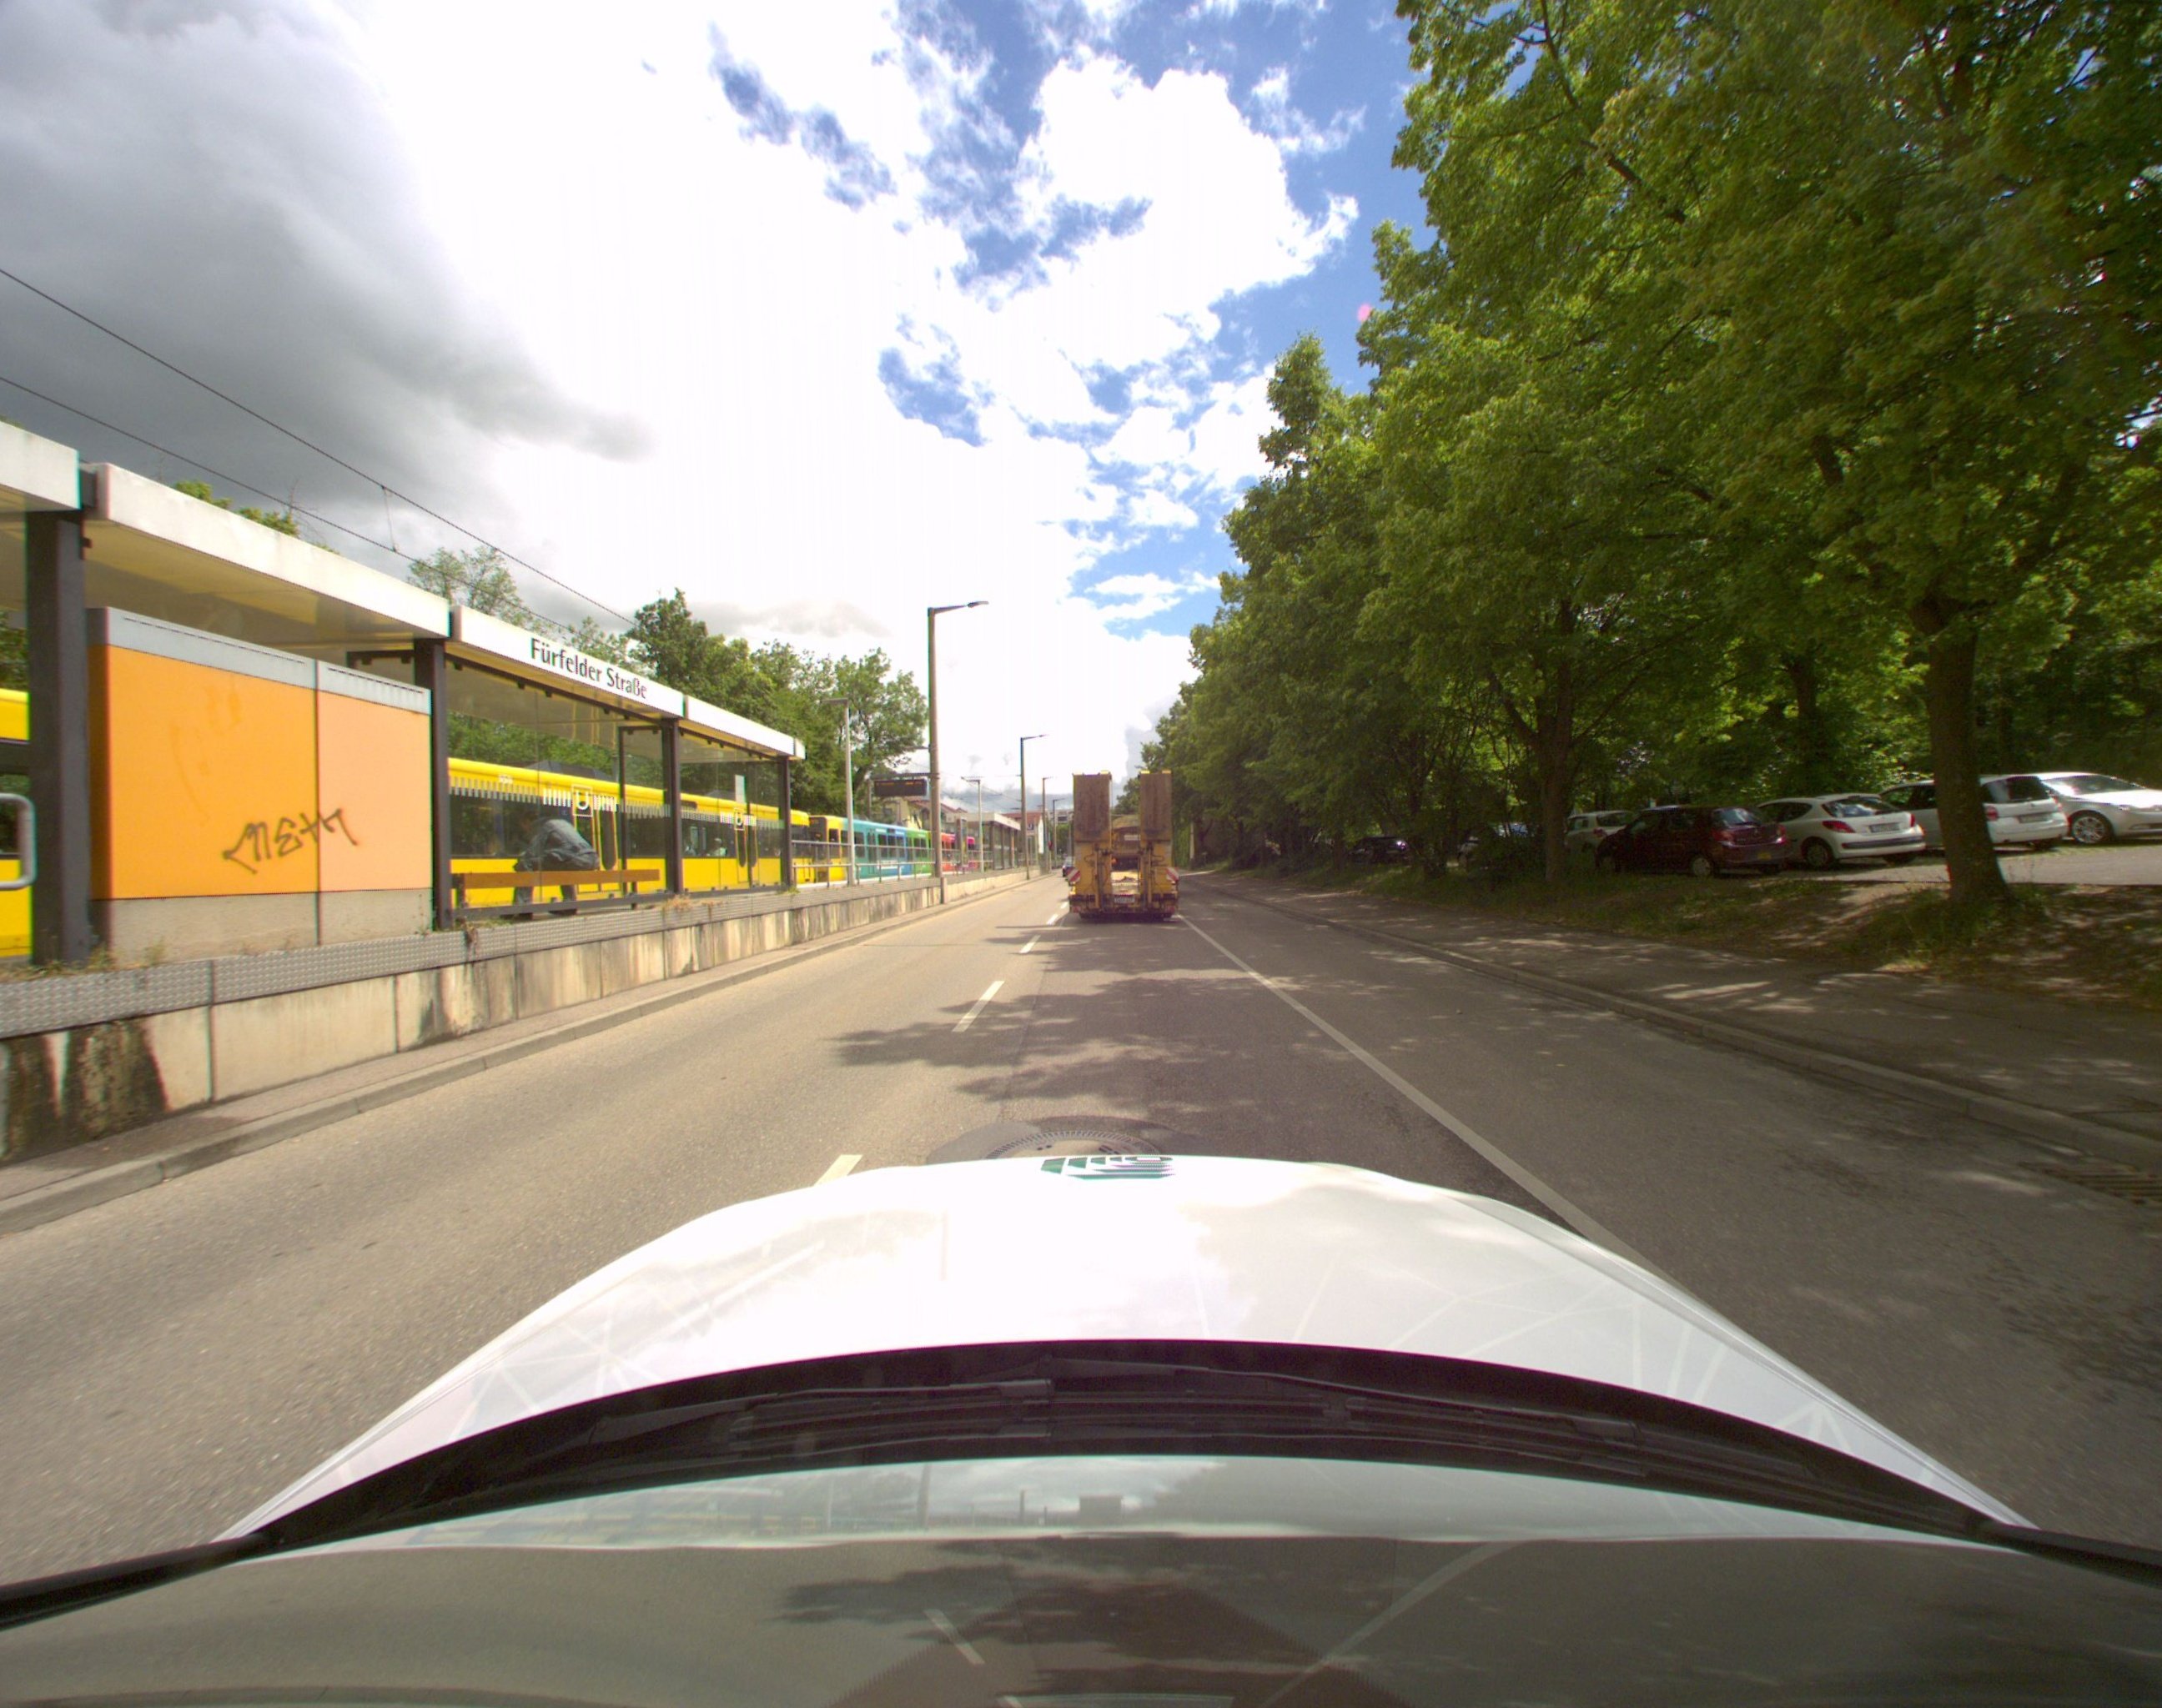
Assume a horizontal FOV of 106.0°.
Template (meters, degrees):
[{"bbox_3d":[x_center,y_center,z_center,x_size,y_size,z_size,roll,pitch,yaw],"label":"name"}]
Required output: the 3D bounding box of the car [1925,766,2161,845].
[{"bbox_3d":[20.321,-0.968,16.939,1.779,1.317,3.624,-5,-1,2],"label":"car"}]

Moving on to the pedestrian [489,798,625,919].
[{"bbox_3d":[-5.614,0.045,8.784,0.793,1.186,0.919,-4,-1,0],"label":"pedestrian"}]

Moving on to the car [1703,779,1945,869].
[{"bbox_3d":[15.056,-0.544,16.803,1.685,1.508,3.624,-5,-1,2],"label":"car"}]

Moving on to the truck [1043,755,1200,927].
[{"bbox_3d":[0.820,-0.251,25.084,3.392,3.732,13.732,-2,0,-1],"label":"truck"}]

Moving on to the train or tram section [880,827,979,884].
[{"bbox_3d":[-10.326,0.163,58.723,3.096,3.465,19.094,0,0,2],"label":"train or tram section"}]

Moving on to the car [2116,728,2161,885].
[{"bbox_3d":[12.347,-0.546,6.653,1.839,1.662,4.726,-2,-1,2],"label":"car"}]

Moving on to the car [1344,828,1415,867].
[{"bbox_3d":[13.278,-0.259,36.451,1.708,1.507,4.162,-5,-1,2],"label":"car"}]

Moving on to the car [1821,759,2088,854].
[{"bbox_3d":[18.058,-0.888,17.120,1.685,1.614,3.624,-5,-1,2],"label":"car"}]

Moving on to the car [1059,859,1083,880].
[{"bbox_3d":[-0.784,1.225,67.273,1.714,1.682,4.389,0,0,2],"label":"car"}]

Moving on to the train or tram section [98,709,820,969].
[{"bbox_3d":[-11.399,-0.132,20.436,3.096,3.465,19.001,0,0,2],"label":"train or tram section"}]

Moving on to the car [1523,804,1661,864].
[{"bbox_3d":[15.225,-0.526,24.541,1.629,1.566,3.990,-4,-1,1],"label":"car"}]

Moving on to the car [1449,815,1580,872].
[{"bbox_3d":[12.919,-0.268,24.575,1.791,1.464,3.990,-4,-1,1],"label":"car"}]

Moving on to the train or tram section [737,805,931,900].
[{"bbox_3d":[-10.842,0.015,39.544,3.096,3.465,19.203,0,0,2],"label":"train or tram section"}]

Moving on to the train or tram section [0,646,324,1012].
[{"bbox_3d":[-11.927,-0.278,1.488,3.096,3.465,18.830,0,0,2],"label":"train or tram section"}]

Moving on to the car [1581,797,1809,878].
[{"bbox_3d":[12.628,-0.293,17.091,1.607,1.413,3.811,-4,0,-6],"label":"car"}]

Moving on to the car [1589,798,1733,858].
[{"bbox_3d":[18.082,-0.743,25.628,1.602,1.566,3.990,-6,-1,1],"label":"car"}]
